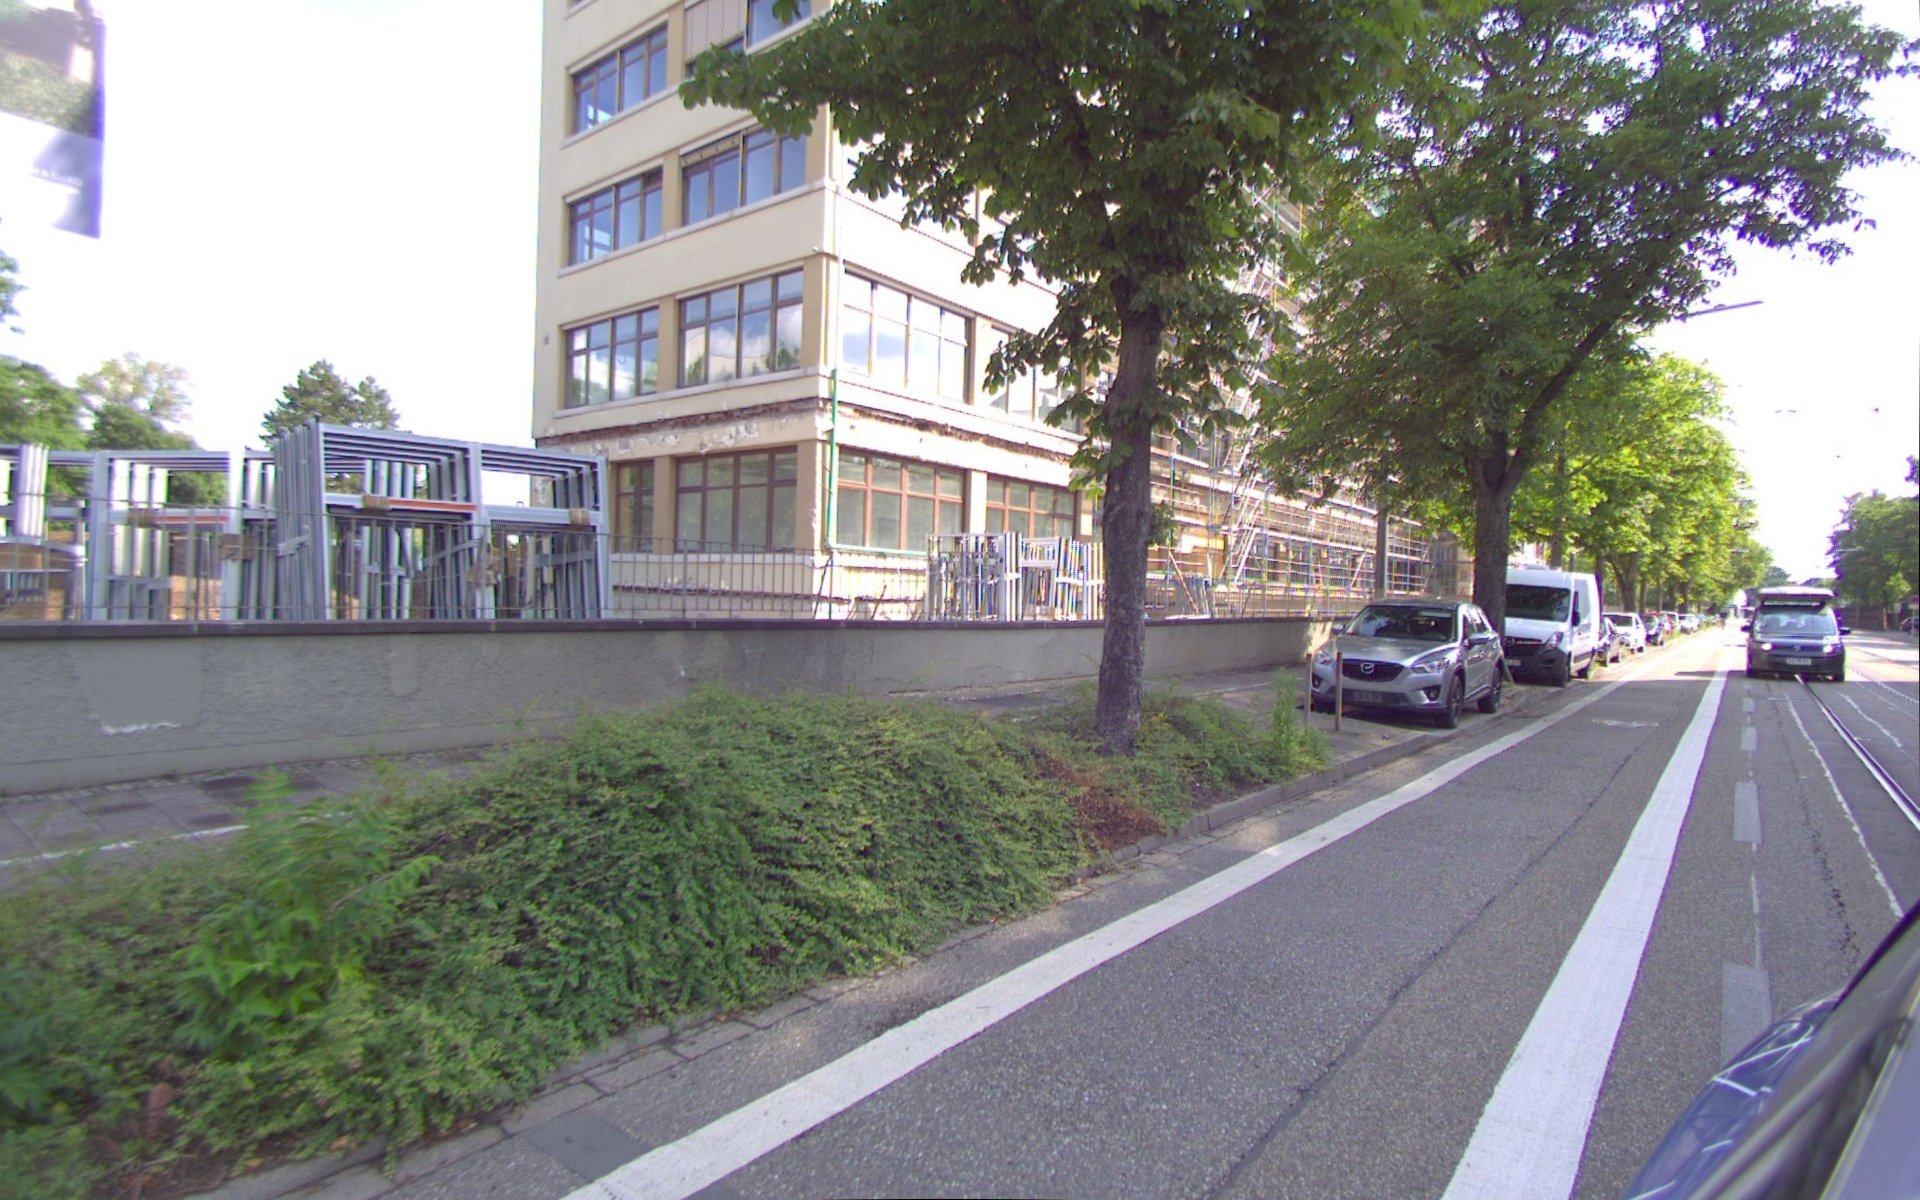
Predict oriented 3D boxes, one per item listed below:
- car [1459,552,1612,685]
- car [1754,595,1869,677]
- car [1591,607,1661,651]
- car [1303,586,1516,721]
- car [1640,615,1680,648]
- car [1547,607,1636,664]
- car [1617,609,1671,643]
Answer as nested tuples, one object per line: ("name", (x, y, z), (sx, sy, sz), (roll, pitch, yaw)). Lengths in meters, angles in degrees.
("car", (13.079, 0.296, 22.789), (2.119, 2.599, 5.838), (1, 2, 38))
("car", (20.677, 0.833, 24.751), (1.936, 1.797, 4.770), (0, -1, 38))
("car", (24.784, 1.034, 37.634), (1.564, 1.475, 3.836), (-2, 0, 42))
("car", (6.594, 0.653, 14.572), (1.762, 1.627, 4.396), (1, 0, 38))
("car", (37.318, 1.673, 53.913), (1.525, 1.594, 3.597), (-2, 0, 38))
("car", (18.841, 0.998, 30.103), (1.732, 1.389, 4.445), (3, 3, 38))
("car", (30.960, 1.152, 45.760), (1.729, 1.416, 3.580), (-1, 0, 38))
